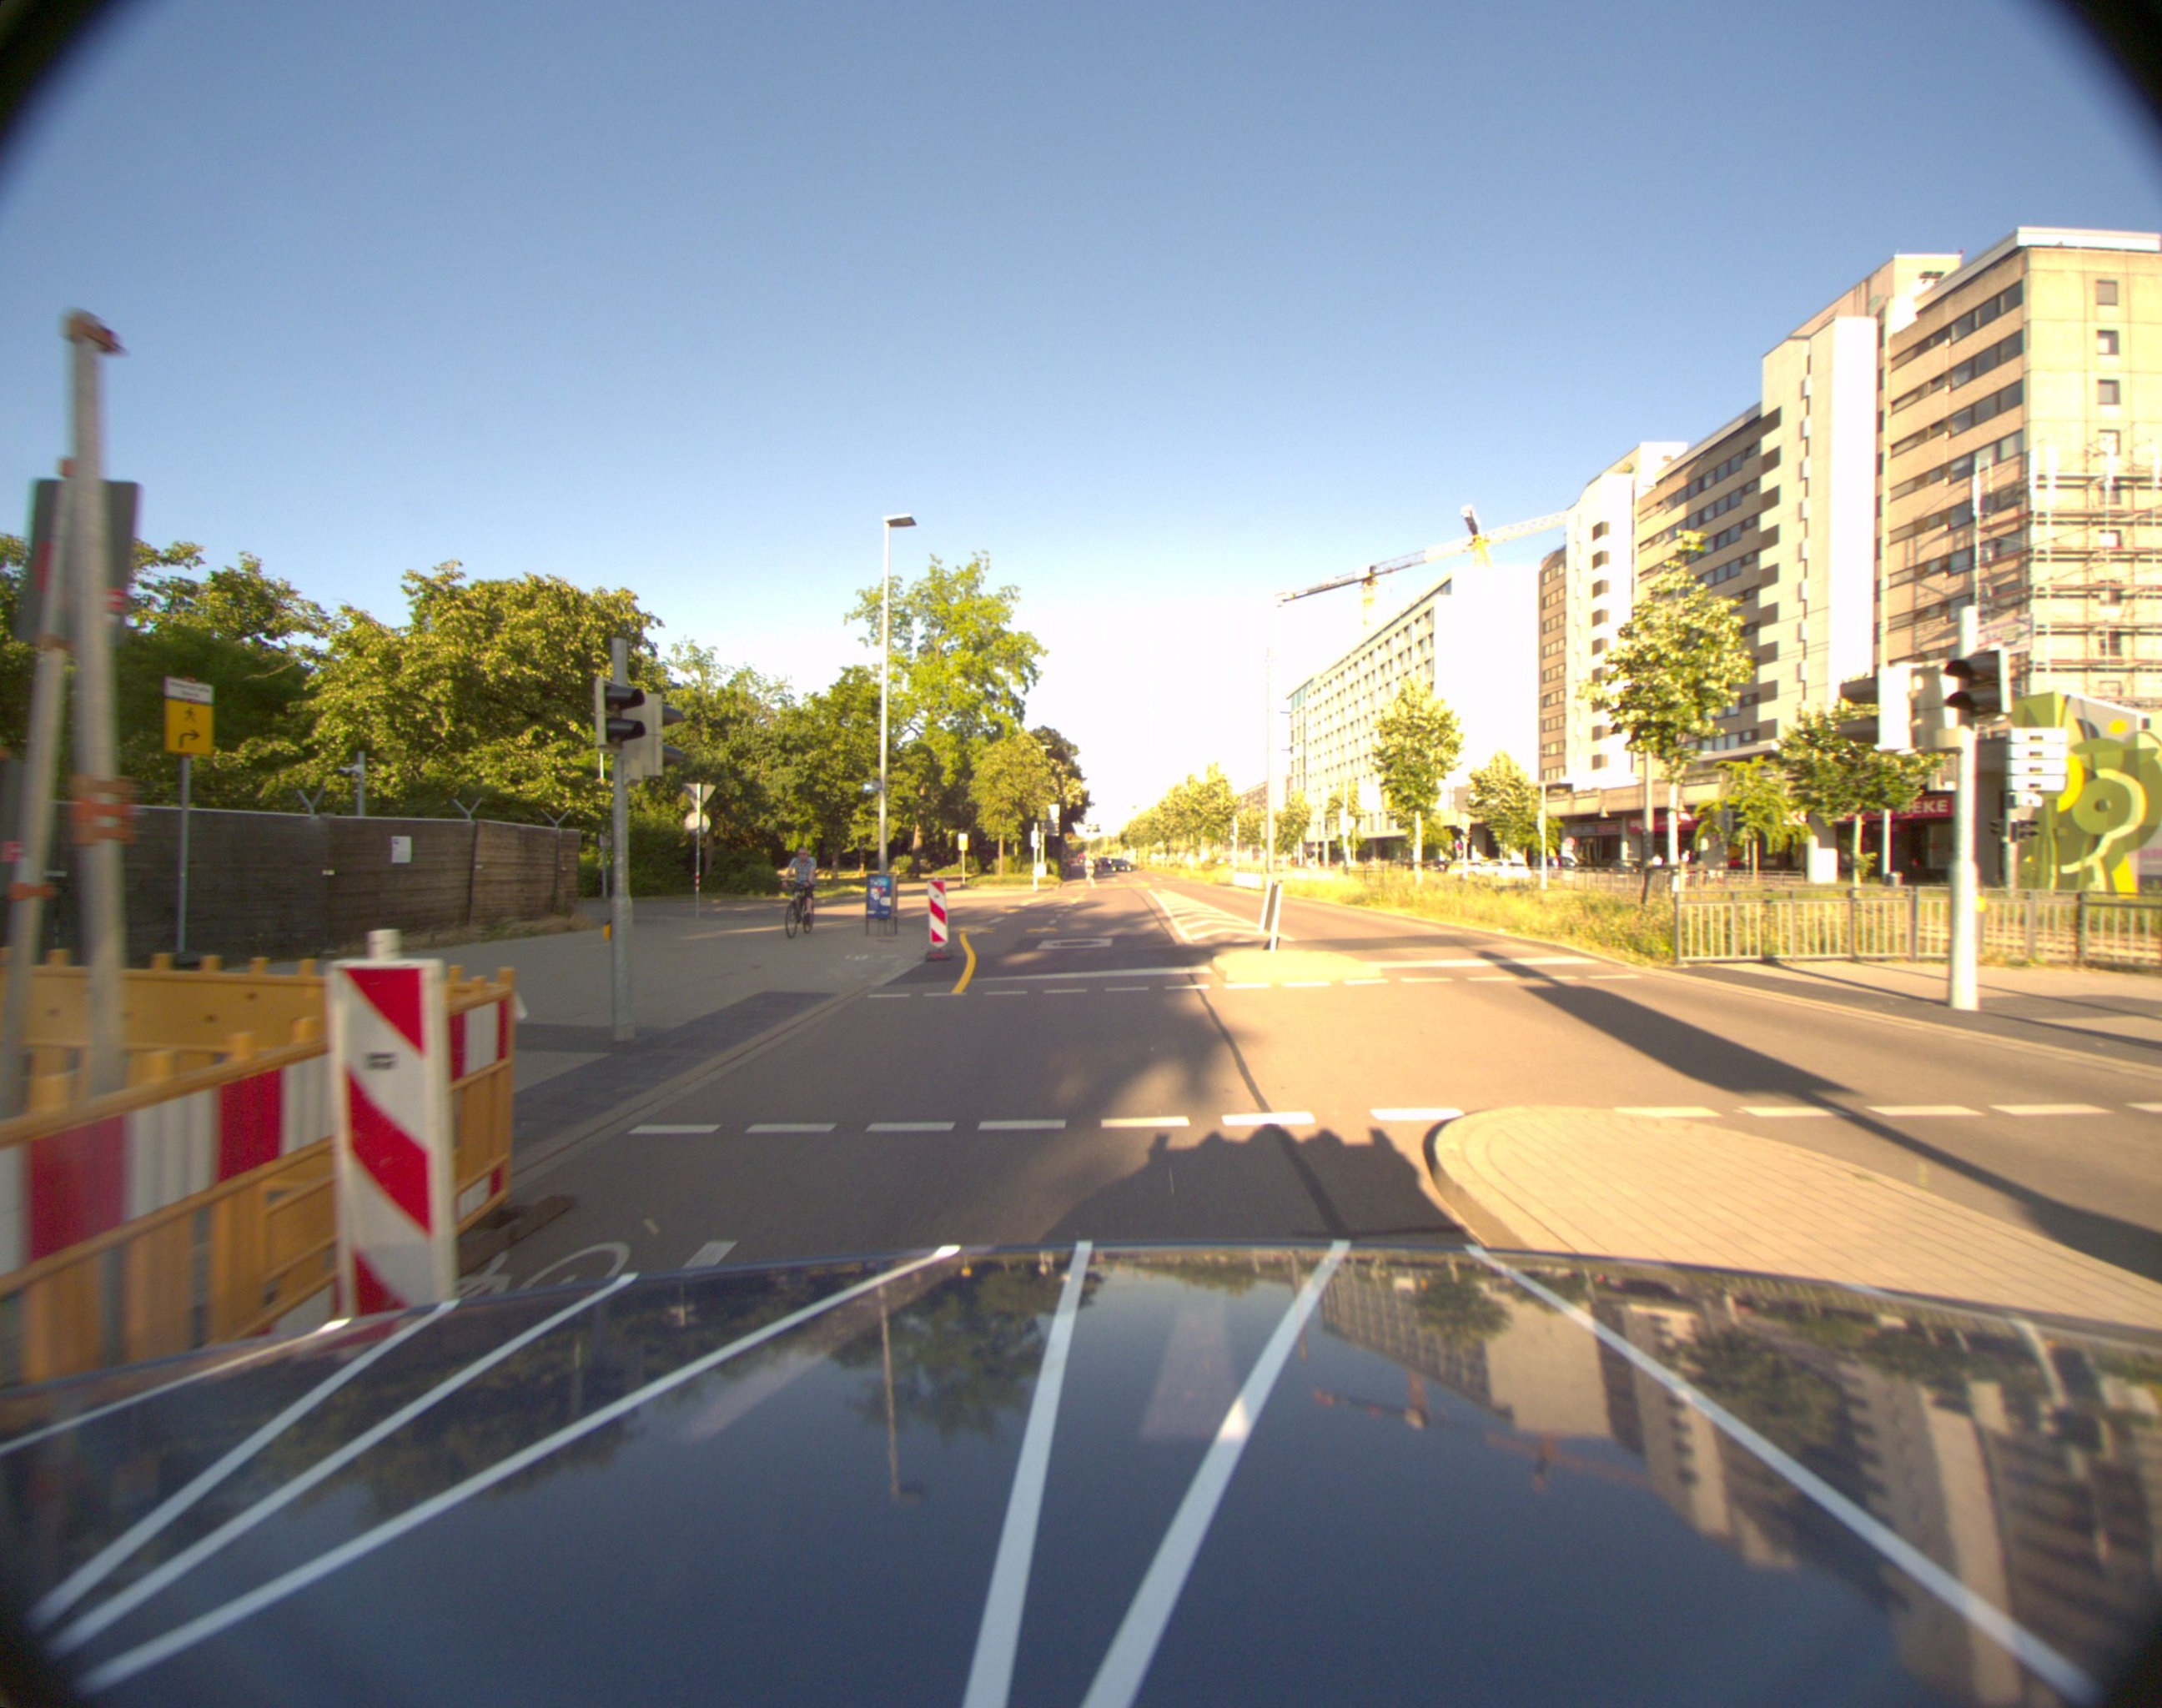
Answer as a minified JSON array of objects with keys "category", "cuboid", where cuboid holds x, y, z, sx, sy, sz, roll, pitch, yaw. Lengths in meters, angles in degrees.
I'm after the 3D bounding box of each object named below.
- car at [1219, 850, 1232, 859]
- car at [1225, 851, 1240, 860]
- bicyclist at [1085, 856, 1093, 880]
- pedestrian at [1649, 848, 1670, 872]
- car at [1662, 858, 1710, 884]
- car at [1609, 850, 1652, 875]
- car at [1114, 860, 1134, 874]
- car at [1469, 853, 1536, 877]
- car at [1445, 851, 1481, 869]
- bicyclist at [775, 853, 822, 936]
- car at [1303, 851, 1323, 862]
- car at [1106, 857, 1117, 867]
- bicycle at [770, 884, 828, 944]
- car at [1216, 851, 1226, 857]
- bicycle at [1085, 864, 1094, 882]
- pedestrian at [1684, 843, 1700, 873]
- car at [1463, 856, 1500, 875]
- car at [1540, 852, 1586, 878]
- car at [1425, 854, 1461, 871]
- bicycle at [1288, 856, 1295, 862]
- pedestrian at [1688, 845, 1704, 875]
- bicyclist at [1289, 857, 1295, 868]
[{"category":"car","cuboid":[31.021,0.075,163.235,1.874,1.692,4.487,-2,1,0]},{"category":"car","cuboid":[29.835,0.277,149.567,1.874,1.579,4.638,-2,1,0]},{"category":"bicyclist","cuboid":[0.488,0.855,46.273,0.516,1.399,0.805,0,1,-1]},{"category":"pedestrian","cuboid":[39.760,0.411,52.256,0.776,1.630,0.882,0,1,-1]},{"category":"car","cuboid":[33.948,0.941,42.621,3.473,1.266,1.617,-3,1,-44]},{"category":"car","cuboid":[35.129,0.547,48.534,3.473,1.394,1.617,-3,1,-44]},{"category":"car","cuboid":[4.556,1.357,80.745,1.998,1.346,4.000,-1,0,1]},{"category":"car","cuboid":[27.713,0.709,50.157,1.781,1.455,4.661,-1,0,-1]},{"category":"car","cuboid":[34.220,0.491,67.998,1.785,1.436,3.809,-1,1,45]},{"category":"bicyclist","cuboid":[-5.645,0.782,15.226,0.585,1.605,0.903,0,1,0]},{"category":"car","cuboid":[33.698,0.414,110.594,1.874,1.457,3.389,-2,1,0]},{"category":"car","cuboid":[4.642,1.160,116.484,1.591,1.449,4.000,0,0,1]},{"category":"bicycle","cuboid":[-5.683,1.178,15.397,0.429,1.055,1.911,0,0,1]},{"category":"car","cuboid":[35.025,0.065,189.992,1.613,1.370,3.879,-2,1,0]},{"category":"bicycle","cuboid":[0.495,1.151,46.384,0.506,1.018,1.505,-1,0,0]},{"category":"pedestrian","cuboid":[40.862,0.278,50.795,0.549,2.002,0.654,0,1,0]},{"category":"car","cuboid":[34.373,0.971,65.118,3.800,1.436,1.617,-3,1,-43]},{"category":"car","cuboid":[34.862,0.802,54.917,4.204,1.681,1.617,-3,1,-41]},{"category":"car","cuboid":[34.198,0.789,71.643,1.617,1.436,4.556,-1,1,45]},{"category":"bicycle","cuboid":[31.068,0.790,112.060,0.437,0.857,2.102,0,0,-2]},{"category":"pedestrian","cuboid":[42.128,0.421,52.043,0.549,2.002,0.654,0,1,0]},{"category":"bicyclist","cuboid":[31.063,1.253,111.890,0.559,1.735,0.919,0,1,-2]}]
